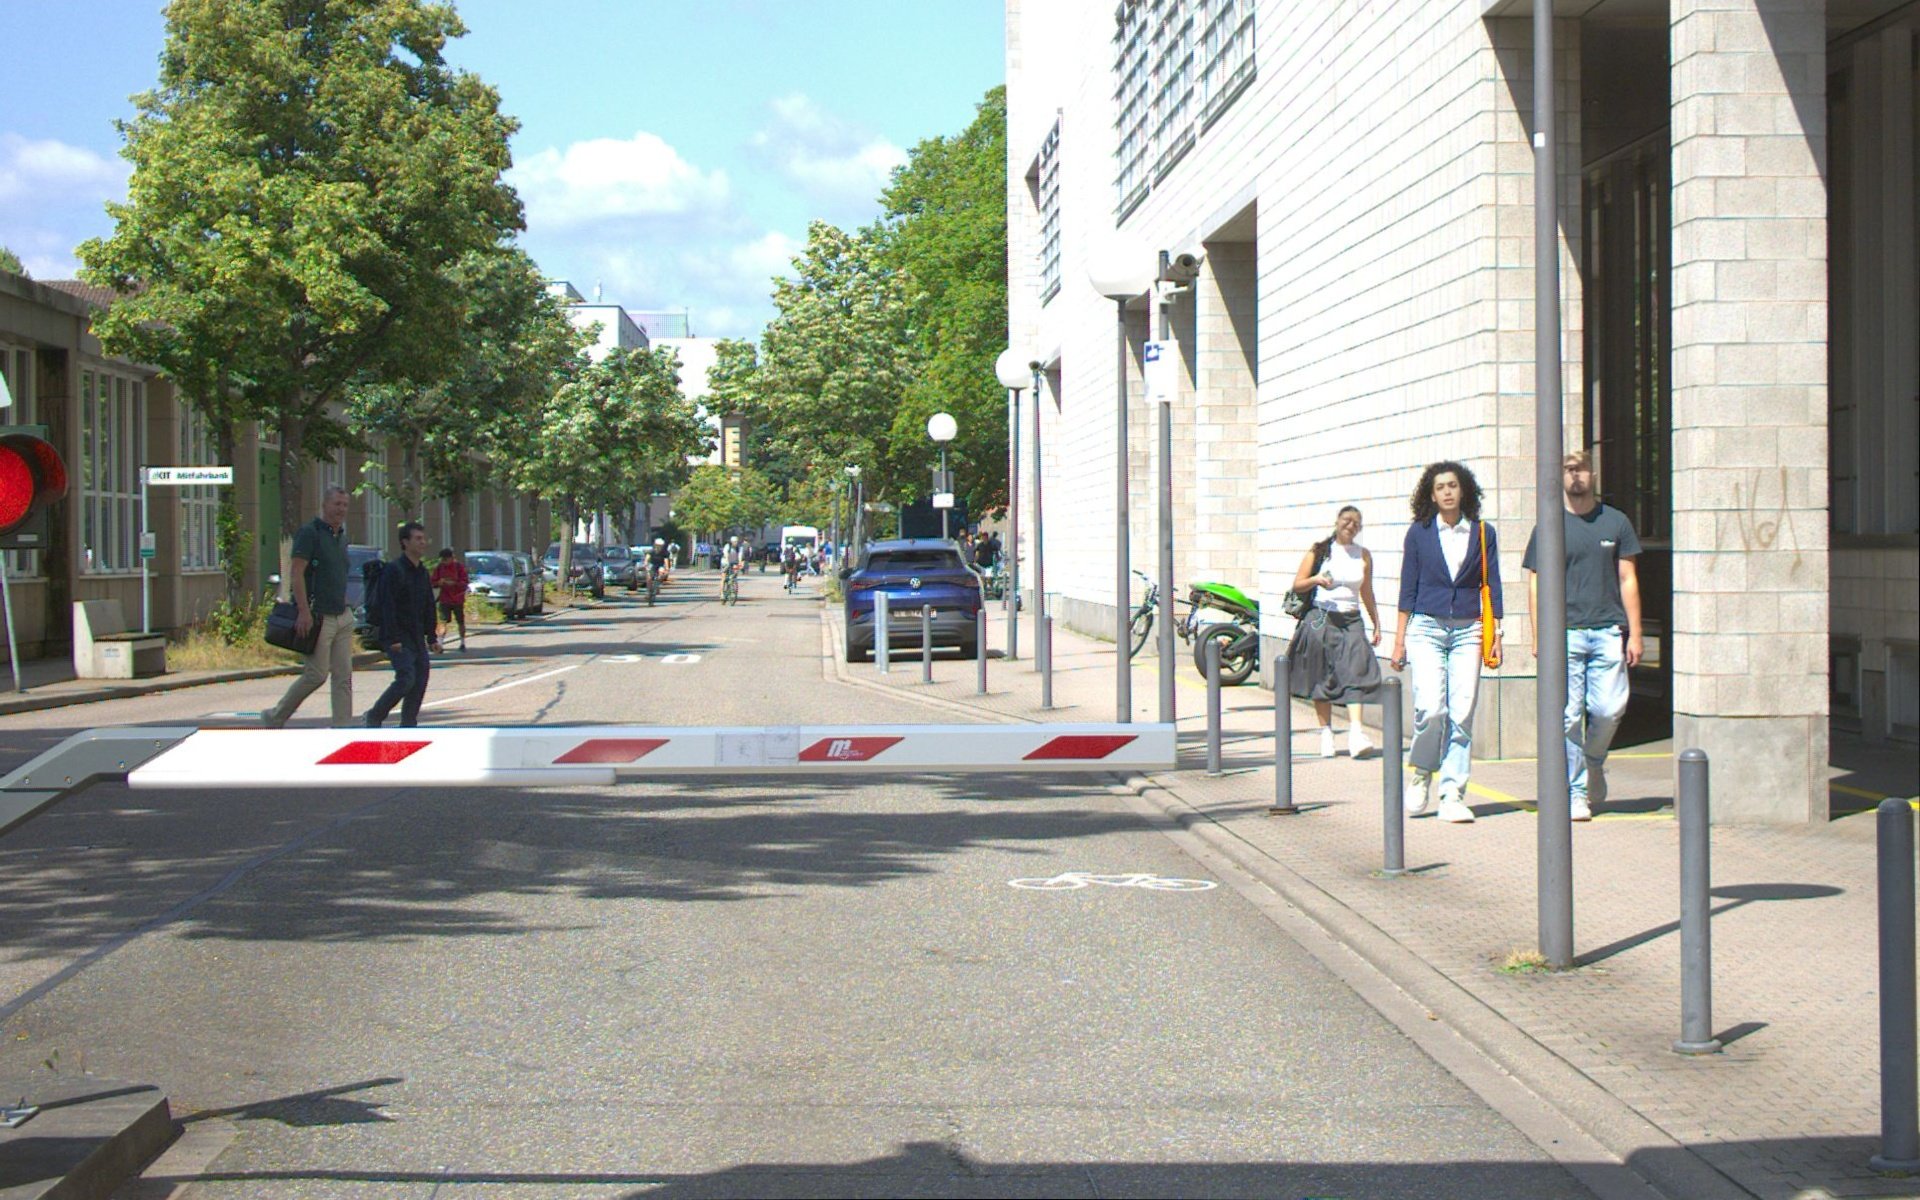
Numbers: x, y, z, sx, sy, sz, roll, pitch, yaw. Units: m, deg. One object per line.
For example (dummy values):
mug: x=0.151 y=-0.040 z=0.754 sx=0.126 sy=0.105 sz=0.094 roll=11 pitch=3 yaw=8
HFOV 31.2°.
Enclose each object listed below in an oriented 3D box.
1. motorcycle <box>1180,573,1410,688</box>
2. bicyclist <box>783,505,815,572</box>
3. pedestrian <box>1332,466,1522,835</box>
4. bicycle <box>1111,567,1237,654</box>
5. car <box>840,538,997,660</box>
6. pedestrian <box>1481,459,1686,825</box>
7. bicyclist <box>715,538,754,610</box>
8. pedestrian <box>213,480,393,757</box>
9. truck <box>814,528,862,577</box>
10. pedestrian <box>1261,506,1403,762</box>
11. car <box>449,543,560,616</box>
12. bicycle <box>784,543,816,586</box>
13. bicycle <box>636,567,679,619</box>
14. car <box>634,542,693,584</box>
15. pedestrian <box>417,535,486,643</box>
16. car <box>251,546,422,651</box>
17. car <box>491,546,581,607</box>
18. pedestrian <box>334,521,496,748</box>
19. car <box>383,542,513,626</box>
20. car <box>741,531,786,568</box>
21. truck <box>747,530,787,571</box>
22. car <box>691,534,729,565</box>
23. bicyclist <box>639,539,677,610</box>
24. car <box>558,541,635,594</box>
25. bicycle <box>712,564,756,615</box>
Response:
motorcycle: x=3.251 y=0.297 z=33.446 sx=2.123 sy=1.019 sz=0.660 roll=-2 pitch=-1 yaw=-1
bicyclist: x=-5.149 y=-1.968 z=110.037 sx=0.987 sy=2.125 sz=1.036 roll=-1 pitch=-1 yaw=-3
pedestrian: x=2.335 y=0.231 z=17.292 sx=0.694 sy=1.774 sz=1.086 roll=-2 pitch=1 yaw=-4
bicycle: x=2.682 y=0.127 z=43.041 sx=1.544 sy=1.063 sz=0.647 roll=-1 pitch=1 yaw=6
car: x=-0.592 y=-0.053 z=45.904 sx=1.993 sy=1.540 sz=4.212 roll=0 pitch=1 yaw=-2
pedestrian: x=3.133 y=0.193 z=17.343 sx=0.767 sy=1.774 sz=0.911 roll=-2 pitch=1 yaw=-4
bicyclist: x=-6.004 y=-0.694 z=91.686 sx=0.987 sy=1.877 sz=1.036 roll=-1 pitch=-1 yaw=-1
pedestrian: x=-4.676 y=0.128 z=24.454 sx=1.003 sy=1.919 sz=0.887 roll=0 pitch=0 yaw=-32
truck: x=-5.365 y=-2.070 z=150.798 sx=1.993 sy=2.007 sz=4.000 roll=-1 pitch=-1 yaw=-4
pedestrian: x=2.447 y=0.208 z=22.682 sx=0.741 sy=1.627 sz=0.888 roll=-2 pitch=1 yaw=-4
car: x=-9.893 y=-0.468 z=74.941 sx=1.993 sy=1.540 sz=4.212 roll=0 pitch=1 yaw=-2
bicycle: x=-5.115 y=-1.129 z=109.938 sx=0.987 sy=1.311 sz=2.964 roll=-1 pitch=-1 yaw=-3
bicycle: x=-8.066 y=-0.172 z=91.755 sx=0.987 sy=1.311 sz=2.964 roll=-1 pitch=-1 yaw=-2
car: x=-11.163 y=-1.398 z=129.673 sx=1.993 sy=1.540 sz=4.212 roll=0 pitch=1 yaw=-2
pedestrian: x=-7.755 y=-0.172 z=52.456 sx=0.894 sy=1.627 sz=0.887 roll=0 pitch=0 yaw=3
car: x=-9.566 y=-0.052 z=53.041 sx=1.993 sy=1.540 sz=4.212 roll=0 pitch=1 yaw=-2
car: x=-11.147 y=-0.638 z=90.652 sx=1.993 sy=1.540 sz=4.212 roll=0 pitch=1 yaw=-2
pedestrian: x=-4.010 y=0.245 z=25.266 sx=0.894 sy=1.627 sz=0.887 roll=0 pitch=0 yaw=-32
car: x=-9.812 y=-0.337 z=66.148 sx=1.993 sy=1.540 sz=4.212 roll=0 pitch=1 yaw=-2
car: x=-9.927 y=-2.536 z=174.083 sx=1.993 sy=1.714 sz=4.000 roll=-1 pitch=-1 yaw=0
truck: x=-10.942 y=-2.792 z=194.611 sx=2.233 sy=2.291 sz=4.841 roll=0 pitch=1 yaw=-3
car: x=-15.080 y=-3.034 z=207.446 sx=1.993 sy=1.714 sz=4.000 roll=-1 pitch=-1 yaw=0
bicyclist: x=-8.068 y=-0.669 z=91.867 sx=0.987 sy=1.877 sz=1.036 roll=-1 pitch=-1 yaw=-3
car: x=-10.870 y=-1.002 z=103.061 sx=1.993 sy=1.540 sz=4.212 roll=0 pitch=1 yaw=-2
bicycle: x=-6.001 y=-0.266 z=91.403 sx=0.987 sy=1.311 sz=2.964 roll=-1 pitch=-1 yaw=-1
